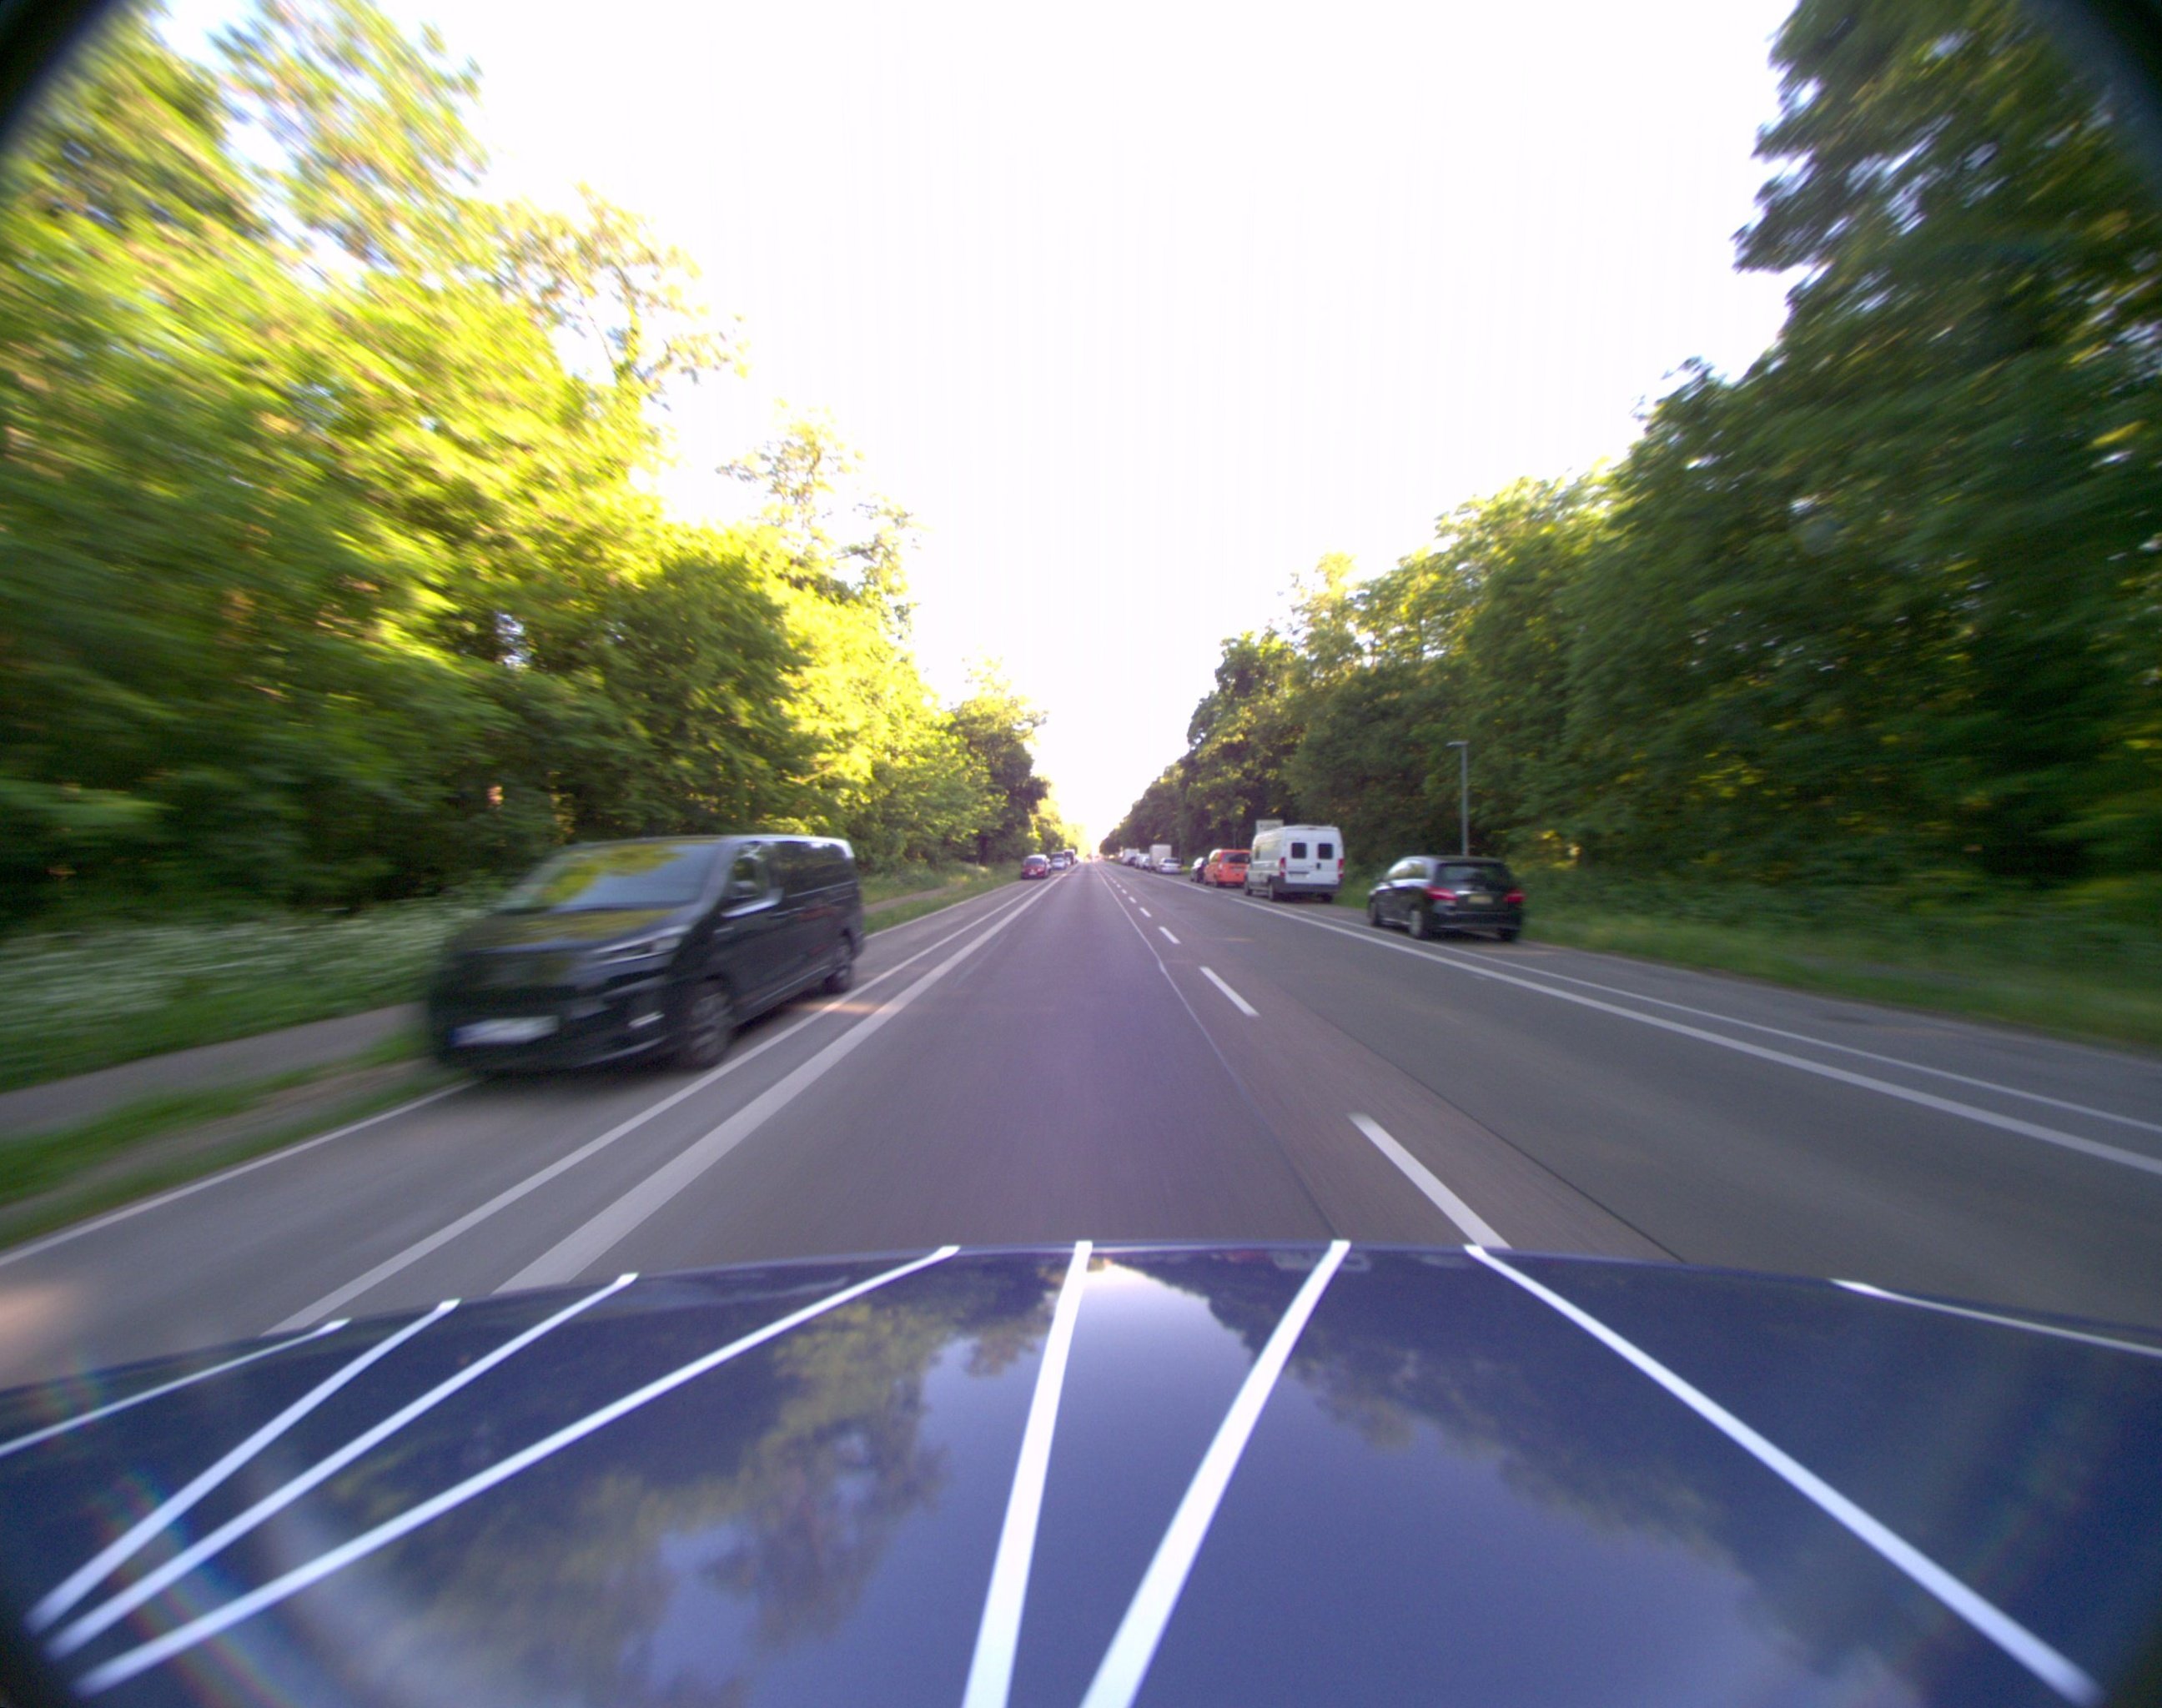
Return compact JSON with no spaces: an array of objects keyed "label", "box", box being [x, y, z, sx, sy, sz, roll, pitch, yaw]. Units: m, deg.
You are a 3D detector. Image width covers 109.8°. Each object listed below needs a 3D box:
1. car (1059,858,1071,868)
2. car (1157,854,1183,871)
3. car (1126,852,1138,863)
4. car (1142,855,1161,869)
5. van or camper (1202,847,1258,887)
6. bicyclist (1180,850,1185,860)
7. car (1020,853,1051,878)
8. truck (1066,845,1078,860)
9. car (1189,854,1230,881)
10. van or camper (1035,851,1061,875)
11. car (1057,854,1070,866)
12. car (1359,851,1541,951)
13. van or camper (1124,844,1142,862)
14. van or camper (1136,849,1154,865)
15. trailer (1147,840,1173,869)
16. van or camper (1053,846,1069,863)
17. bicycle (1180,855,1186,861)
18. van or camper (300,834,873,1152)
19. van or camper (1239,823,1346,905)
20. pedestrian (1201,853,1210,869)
[{"label":"car","box":[-2.755,1.526,128.899,1.716,1.536,4.022,-3,0,2]},{"label":"car","box":[7.582,0.701,65.155,1.802,1.445,4.625,1,0,1]},{"label":"car","box":[8.054,0.516,119.875,1.650,1.622,4.273,1,0,1]},{"label":"car","box":[8.006,0.865,86.973,1.779,1.531,4.524,1,0,0]},{"label":"van or camper","box":[7.412,0.595,38.281,1.927,1.856,4.863,1,0,1]},{"label":"bicyclist","box":[12.110,0.113,90.462,0.488,1.228,0.974,-2,1,1]},{"label":"car","box":[-3.335,0.800,56.062,1.839,1.651,4.338,-3,0,1]},{"label":"truck","box":[-2.076,-0.413,182.000,2.840,3.477,8.577,-1,0,0]},{"label":"car","box":[7.411,0.747,44.138,1.736,1.469,4.324,1,0,1]},{"label":"van or camper","box":[-2.672,0.711,62.067,1.956,1.805,4.379,-2,0,-1]},{"label":"car","box":[-2.311,0.741,100.741,1.752,1.506,3.999,0,0,-1]},{"label":"car","box":[7.014,0.784,15.013,1.785,1.674,4.379,0,0,5]},{"label":"van or camper","box":[8.721,-0.118,128.563,2.321,2.952,7.109,1,0,-2]},{"label":"van or camper","box":[7.851,0.342,94.001,1.840,1.900,4.855,0,0,0]},{"label":"trailer","box":[7.416,0.024,71.852,1.998,2.582,4.415,1,0,1]},{"label":"van or camper","box":[-2.817,0.122,108.067,2.040,2.298,6.040,0,0,0]},{"label":"bicycle","box":[12.120,0.518,90.507,0.523,0.708,1.487,-2,0,1]},{"label":"van or camper","box":[-3.810,0.868,7.359,1.998,1.921,5.199,-2,0,1]},{"label":"van or camper","box":[7.405,0.308,27.409,2.126,2.557,6.542,-1,0,1]},{"label":"pedestrian","box":[12.034,0.687,73.419,0.716,1.558,0.700,-1,1,1]}]
